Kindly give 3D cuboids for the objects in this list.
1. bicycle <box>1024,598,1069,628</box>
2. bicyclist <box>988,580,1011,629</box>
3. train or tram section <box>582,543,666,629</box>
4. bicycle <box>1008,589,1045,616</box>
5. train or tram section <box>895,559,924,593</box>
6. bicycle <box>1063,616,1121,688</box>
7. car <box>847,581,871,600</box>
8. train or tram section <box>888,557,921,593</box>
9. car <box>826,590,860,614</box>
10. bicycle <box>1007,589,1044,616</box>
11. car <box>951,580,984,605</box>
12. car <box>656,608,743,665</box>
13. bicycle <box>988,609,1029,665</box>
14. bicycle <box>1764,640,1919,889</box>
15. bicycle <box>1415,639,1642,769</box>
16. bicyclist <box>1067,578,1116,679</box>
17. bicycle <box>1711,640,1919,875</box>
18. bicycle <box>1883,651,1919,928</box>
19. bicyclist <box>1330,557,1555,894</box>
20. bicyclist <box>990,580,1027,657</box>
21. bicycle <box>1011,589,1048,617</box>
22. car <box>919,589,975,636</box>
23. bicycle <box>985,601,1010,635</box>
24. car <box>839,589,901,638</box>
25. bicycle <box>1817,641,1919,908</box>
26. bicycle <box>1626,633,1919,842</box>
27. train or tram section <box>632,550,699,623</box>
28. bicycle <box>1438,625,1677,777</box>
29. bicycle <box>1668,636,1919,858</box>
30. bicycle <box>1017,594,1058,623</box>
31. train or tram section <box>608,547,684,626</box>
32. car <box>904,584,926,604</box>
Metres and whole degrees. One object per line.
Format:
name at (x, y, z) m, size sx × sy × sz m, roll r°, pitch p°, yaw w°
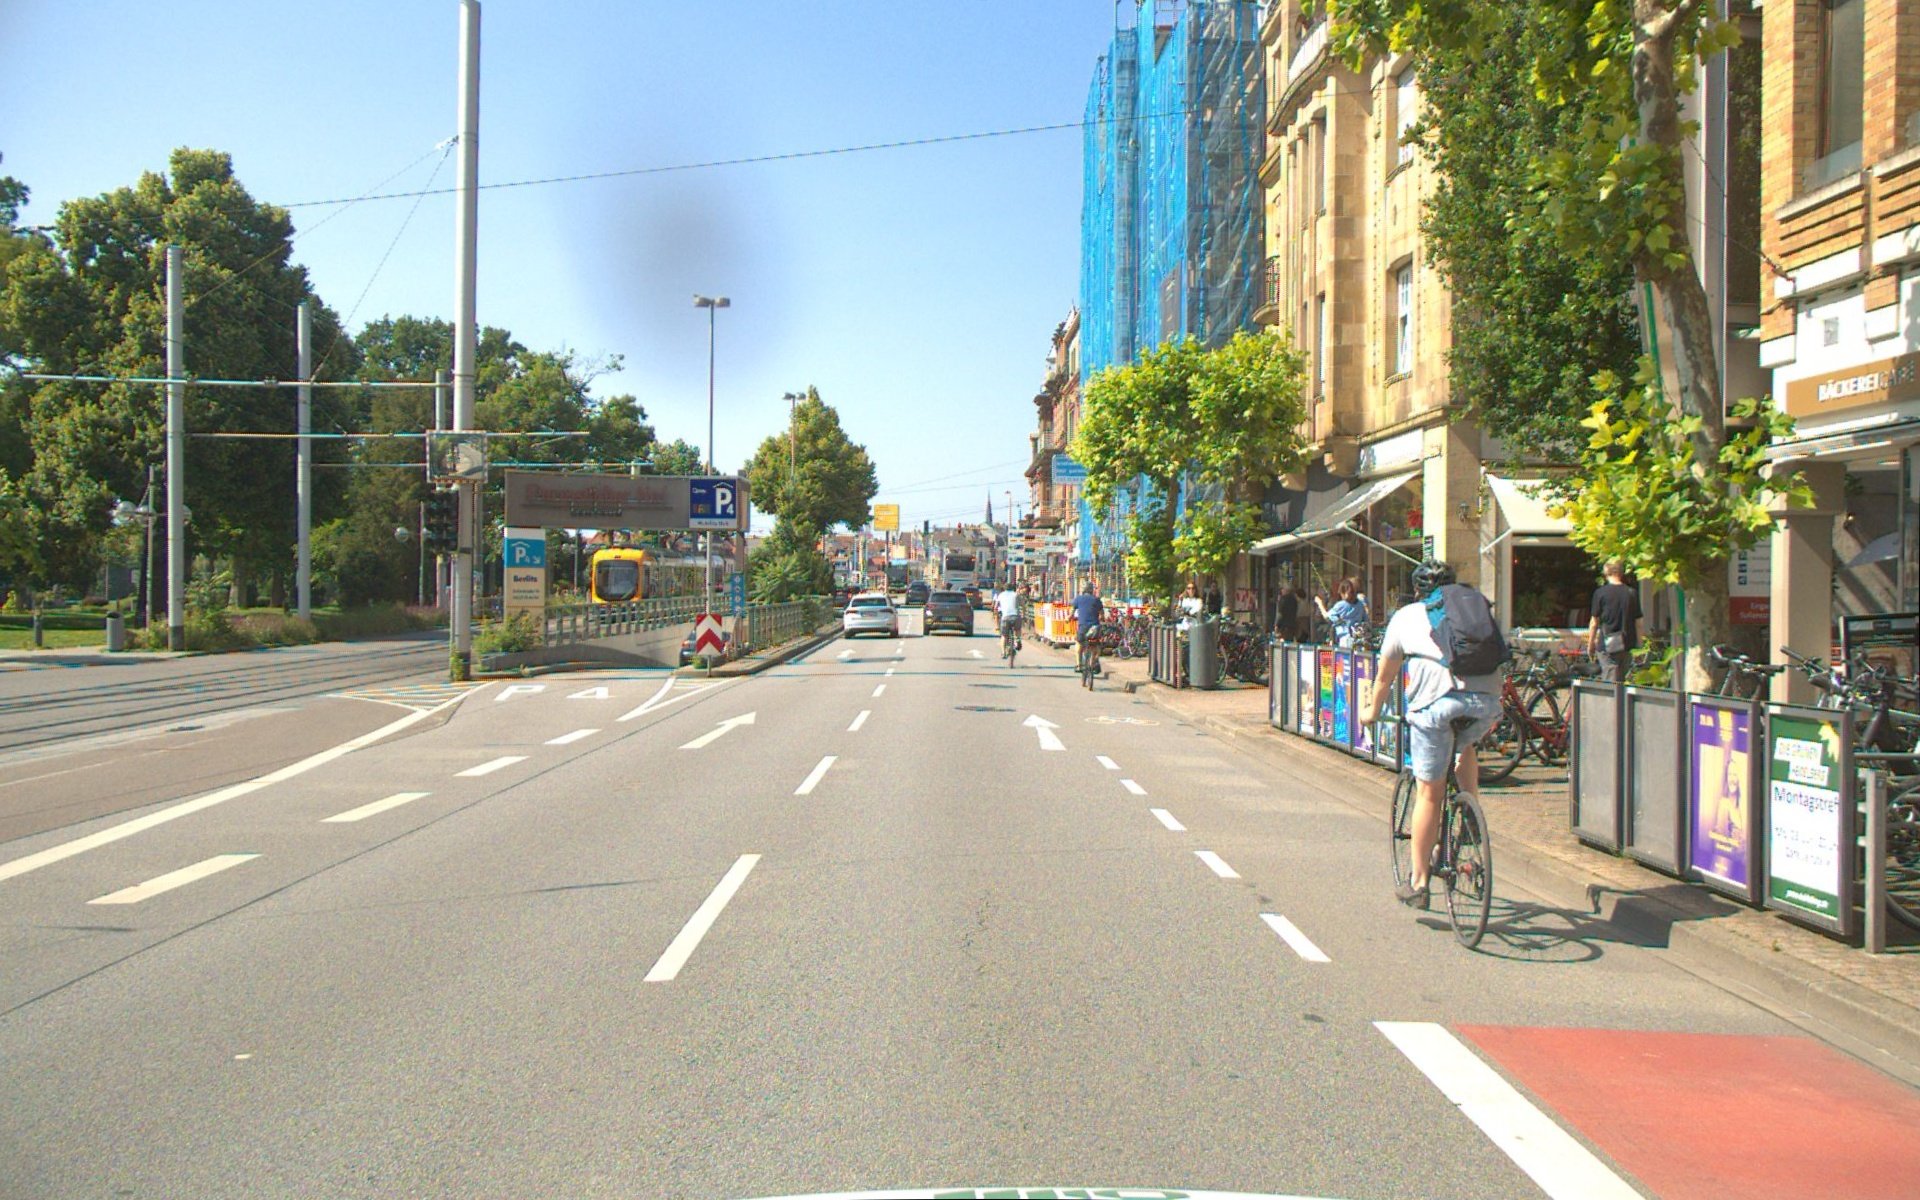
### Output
bicycle at (3.332, 0.494, 63.863) m, size 1.659 × 1.116 × 0.608 m, roll 1°, pitch 0°, yaw -1°
bicyclist at (1.321, 0.153, 55.721) m, size 0.674 × 1.604 × 1.049 m, roll 2°, pitch 0°, yaw -3°
train or tram section at (-15.180, -0.637, 75.054) m, size 2.561 × 3.643 × 6.102 m, roll 2°, pitch 0°, yaw -1°
bicycle at (3.063, 0.117, 76.627) m, size 1.659 × 1.199 × 0.490 m, roll 1°, pitch 0°, yaw -1°
train or tram section at (-5.712, -2.691, 187.500) m, size 2.764 × 3.643 × 8.228 m, roll 2°, pitch 0°, yaw 1°
bicycle at (2.206, 0.858, 27.817) m, size 0.719 × 1.112 × 1.910 m, roll 2°, pitch 0°, yaw -2°
car at (-7.134, -0.682, 117.380) m, size 1.422 × 1.323 × 4.000 m, roll 2°, pitch 0°, yaw 0°
train or tram section at (-5.938, -2.640, 178.340) m, size 2.764 × 3.643 × 10.034 m, roll 2°, pitch 0°, yaw 1°
car at (-7.229, 0.102, 102.586) m, size 1.778 × 1.355 × 4.000 m, roll 2°, pitch 0°, yaw 0°
bicycle at (3.052, 0.105, 77.210) m, size 1.659 × 1.199 × 0.451 m, roll 1°, pitch 0°, yaw -1°
car at (0.461, -0.476, 104.439) m, size 1.953 × 1.518 × 4.000 m, roll 2°, pitch 0°, yaw 0°
car at (-7.820, 1.081, 50.059) m, size 1.953 × 1.534 × 4.000 m, roll 2°, pitch 0°, yaw 0°
bicycle at (1.022, 0.782, 35.375) m, size 0.719 × 1.112 × 1.897 m, roll 2°, pitch 0°, yaw -2°
bicycle at (4.913, 0.790, 8.124) m, size 1.718 × 1.167 × 0.482 m, roll 0°, pitch 0°, yaw -3°
bicycle at (4.689, 0.848, 13.668) m, size 1.718 × 1.036 × 0.482 m, roll 0°, pitch 0°, yaw -3°
bicyclist at (2.210, 0.470, 27.859) m, size 0.674 × 1.644 × 0.918 m, roll 2°, pitch 0°, yaw -2°
bicycle at (4.873, 0.803, 8.620) m, size 1.718 × 1.167 × 0.482 m, roll 0°, pitch 0°, yaw -3°
bicycle at (4.937, 0.814, 7.090) m, size 1.718 × 1.167 × 0.482 m, roll 0°, pitch 0°, yaw -3°
bicyclist at (2.292, 0.561, 7.985) m, size 0.674 × 1.488 × 1.142 m, roll 2°, pitch 0°, yaw -3°
bicyclist at (1.035, 0.385, 35.323) m, size 0.674 × 1.604 × 1.049 m, roll 2°, pitch 0°, yaw -3°
bicycle at (3.166, 0.129, 75.324) m, size 1.659 × 1.262 × 0.608 m, roll 1°, pitch 0°, yaw -1°
car at (-0.435, 0.405, 58.130) m, size 1.835 × 1.518 × 4.000 m, roll 2°, pitch 0°, yaw 0°
bicycle at (1.275, 0.600, 55.853) m, size 0.719 × 1.112 × 1.897 m, roll 2°, pitch 0°, yaw -2°
car at (-2.994, 0.417, 55.626) m, size 1.821 × 1.533 × 4.000 m, roll -2°, pitch 0°, yaw 0°
bicycle at (4.922, 0.784, 7.621) m, size 1.718 × 1.167 × 0.482 m, roll 0°, pitch 0°, yaw -3°
bicycle at (4.821, 0.784, 9.614) m, size 1.718 × 1.167 × 0.482 m, roll 0°, pitch 0°, yaw -3°
train or tram section at (-15.429, -0.722, 86.882) m, size 2.560 × 3.643 × 5.356 m, roll 2°, pitch 0°, yaw -1°
bicycle at (4.702, 0.787, 13.057) m, size 1.718 × 1.167 × 0.482 m, roll 0°, pitch 0°, yaw -3°
bicycle at (4.855, 0.796, 9.114) m, size 1.718 × 1.167 × 0.482 m, roll 0°, pitch 0°, yaw -3°
bicycle at (3.321, 0.361, 70.935) m, size 1.735 × 1.199 × 0.608 m, roll 1°, pitch 0°, yaw -1°
train or tram section at (-15.329, -0.681, 81.136) m, size 2.560 × 3.643 × 6.102 m, roll 2°, pitch 0°, yaw -1°
car at (-3.143, -0.454, 115.894) m, size 1.423 × 1.323 × 3.340 m, roll 2°, pitch 0°, yaw -3°
